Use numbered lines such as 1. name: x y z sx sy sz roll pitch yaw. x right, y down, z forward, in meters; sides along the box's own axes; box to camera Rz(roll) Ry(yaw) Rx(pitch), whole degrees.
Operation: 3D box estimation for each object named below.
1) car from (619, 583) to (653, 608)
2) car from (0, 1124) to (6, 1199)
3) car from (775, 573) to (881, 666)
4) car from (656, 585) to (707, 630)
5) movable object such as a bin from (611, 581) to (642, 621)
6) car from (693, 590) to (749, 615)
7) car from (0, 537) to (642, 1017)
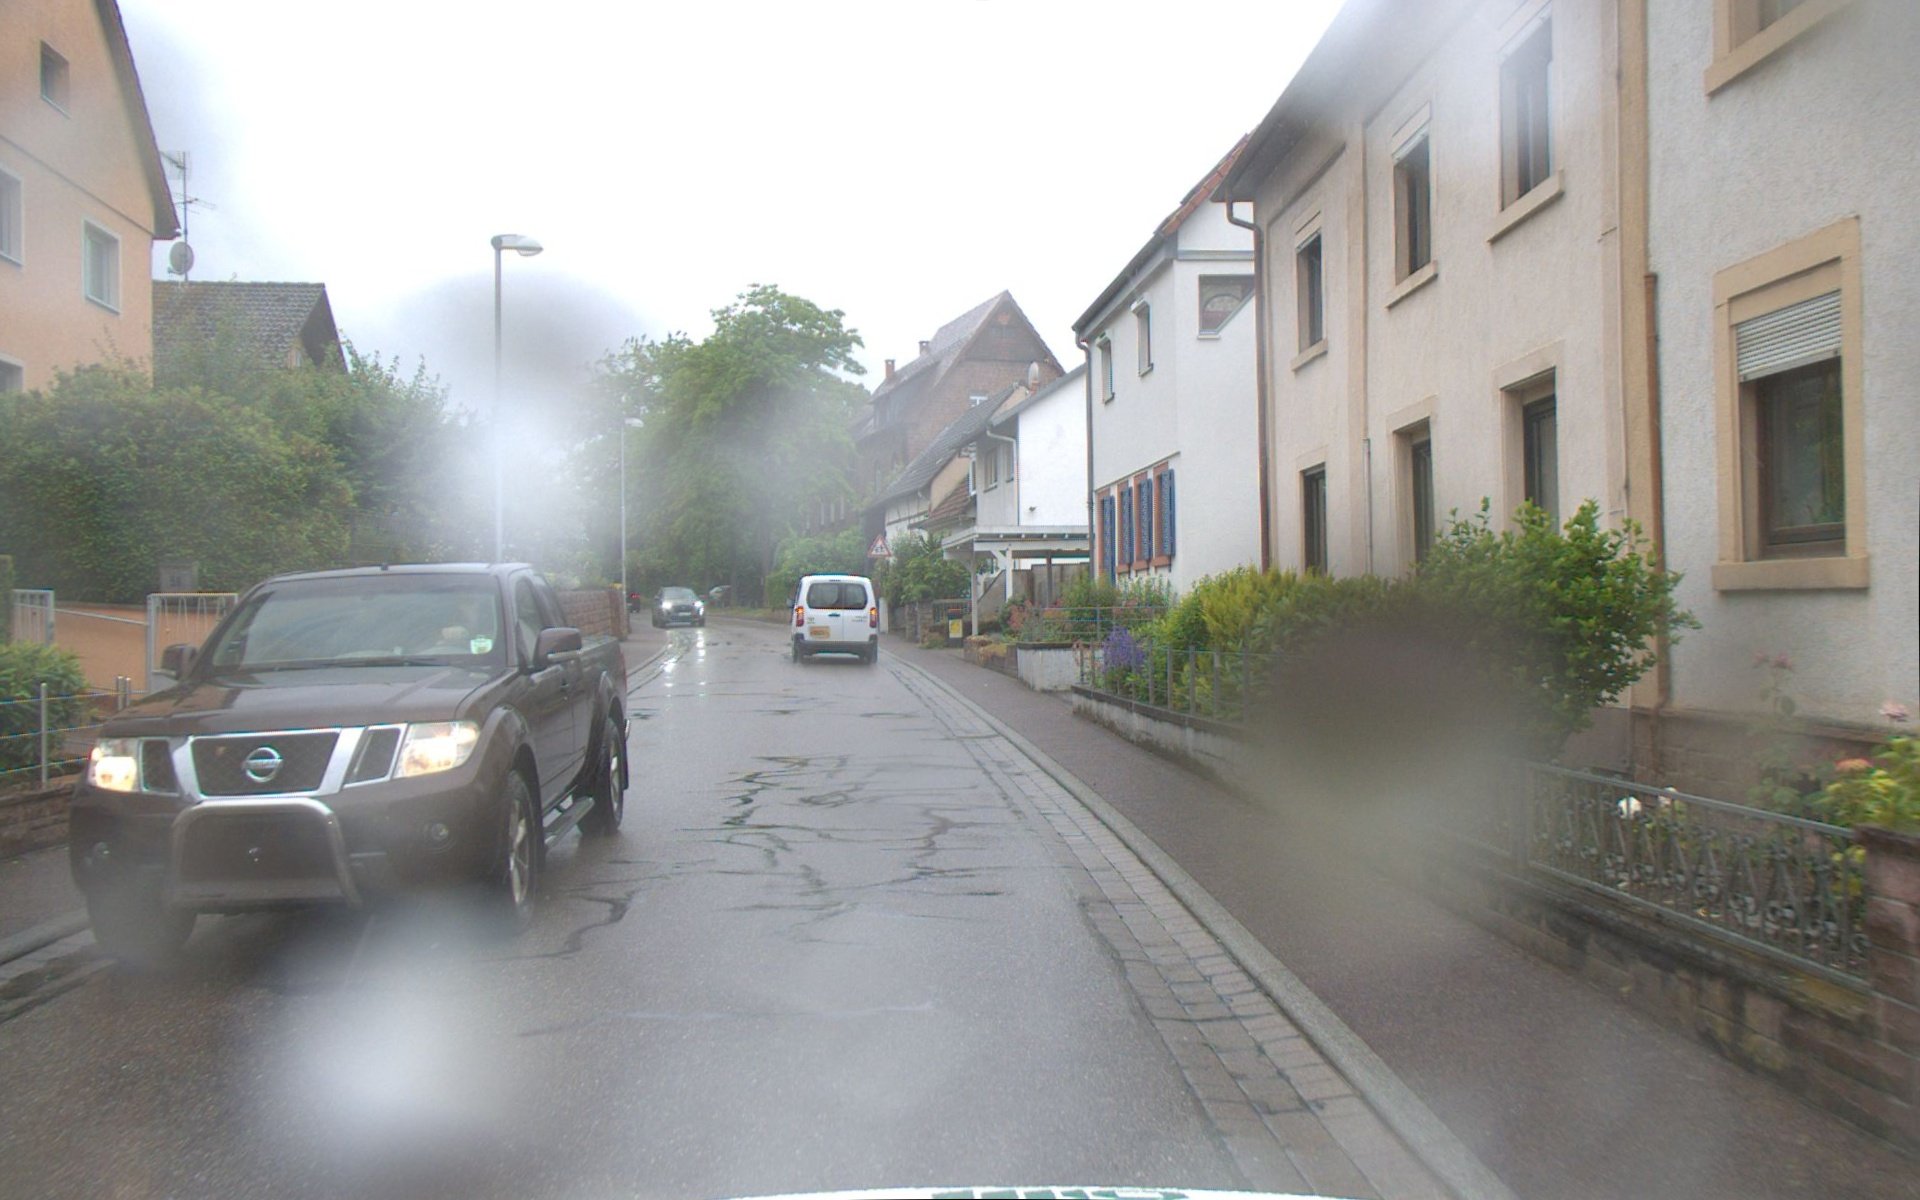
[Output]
1. car: -19.064 -0.245 97.228 1.681 1.401 3.983 0 0 -16
2. car: -2.356 0.808 1.051 1.549 1.507 3.712 -4 2 -5
3. car: -2.911 0.360 35.739 1.862 1.838 3.990 -2 1 -10
4. car: -10.920 0.256 64.681 1.671 1.573 3.838 -4 1 -13
5. movable object such as a bin: -22.048 0.062 109.226 1.732 2.592 4.220 0 0 -16
6. car: -15.669 0.156 108.644 1.589 1.578 3.601 -2 0 35
7. car: -2.935 0.658 8.837 1.798 1.702 5.192 -3 0 -5
